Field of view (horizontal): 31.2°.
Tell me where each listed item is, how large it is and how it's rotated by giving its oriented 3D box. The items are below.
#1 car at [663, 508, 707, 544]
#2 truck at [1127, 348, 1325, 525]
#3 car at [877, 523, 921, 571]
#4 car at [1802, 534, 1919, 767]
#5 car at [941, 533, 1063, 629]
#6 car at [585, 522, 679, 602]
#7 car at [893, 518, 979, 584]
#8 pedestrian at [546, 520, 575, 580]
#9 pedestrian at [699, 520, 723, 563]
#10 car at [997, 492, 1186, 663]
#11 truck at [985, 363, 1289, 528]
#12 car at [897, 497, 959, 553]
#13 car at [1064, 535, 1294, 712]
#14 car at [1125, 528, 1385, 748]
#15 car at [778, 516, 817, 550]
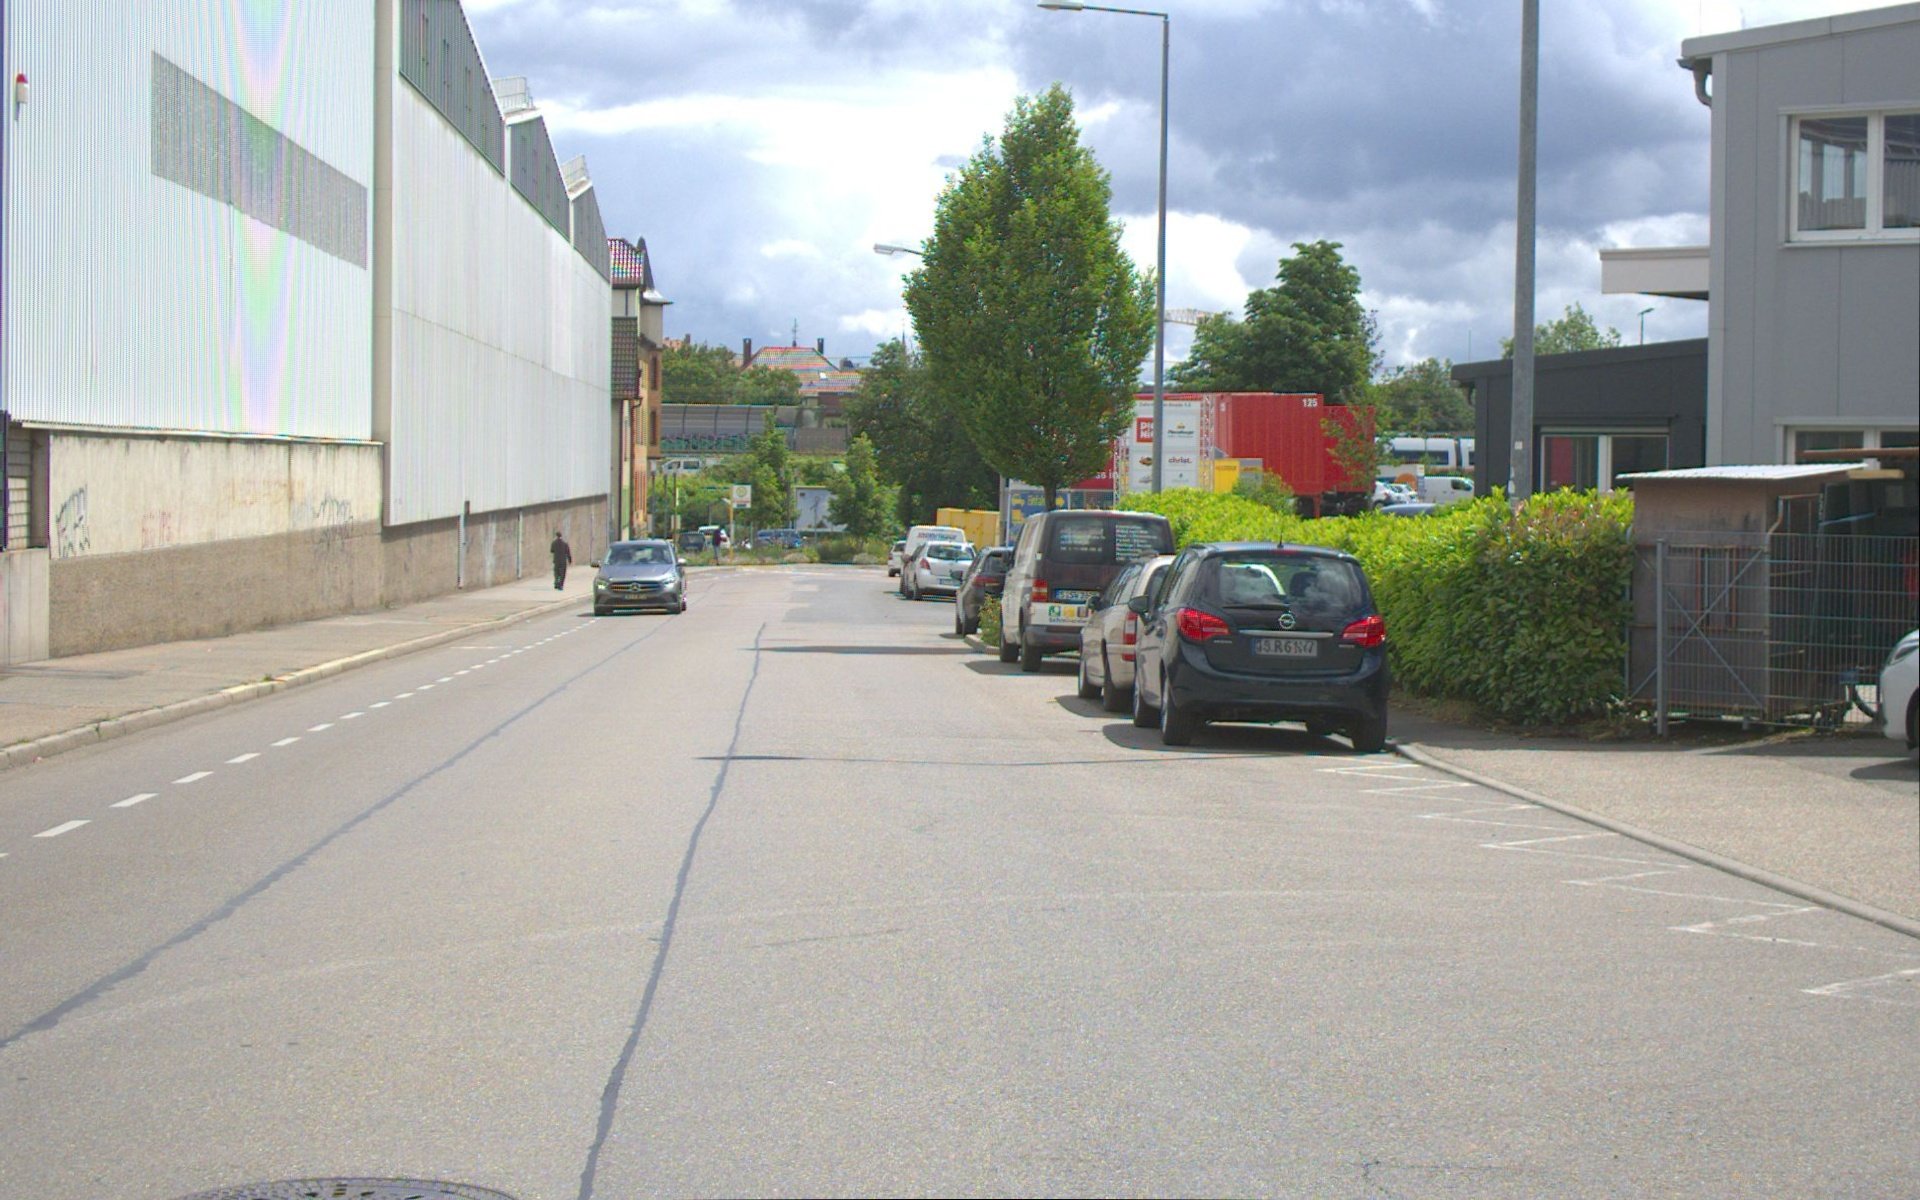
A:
[{"bbox_3d":[-12.265,-3.288,153.550,1.852,1.481,4.000,1,0,-3],"label":"car"},{"bbox_3d":[7.197,-4.372,94.238,2.573,4.434,7.865,1,0,-18],"label":"truck"},{"bbox_3d":[-2.362,-2.023,132.155,1.566,1.780,3.606,1,0,-3],"label":"car"},{"bbox_3d":[7.575,0.299,21.753,1.720,1.457,4.073,-4,2,-41],"label":"car"},{"bbox_3d":[0.647,-0.339,56.506,1.714,1.468,4.512,1,1,-3],"label":"car"},{"bbox_3d":[-6.819,-0.781,71.849,1.719,1.550,4.288,-3,1,-3],"label":"car"},{"bbox_3d":[-0.627,-1.256,86.906,1.701,1.522,3.739,3,1,-6],"label":"car"},{"bbox_3d":[-11.023,-1.381,94.832,0.713,1.632,0.777,1,0,-1],"label":"pedestrian"},{"bbox_3d":[-9.934,-2.330,137.025,0.853,1.657,0.860,1,0,2],"label":"pedestrian"},{"bbox_3d":[1.568,-0.320,42.841,1.869,1.983,5.145,1,1,-3],"label":"car"},{"bbox_3d":[5.194,-4.485,100.964,8.458,4.655,2.580,1,0,19],"label":"truck"},{"bbox_3d":[-0.931,-2.146,97.718,1.701,1.522,3.738,1,1,-1],"label":"car"},{"bbox_3d":[2.021,0.164,32.932,1.655,1.535,4.735,1,1,-3],"label":"car"},{"bbox_3d":[2.327,0.242,28.018,1.679,1.632,4.123,1,1,-1],"label":"car"},{"bbox_3d":[-7.799,-3.199,164.861,1.852,1.481,4.000,1,0,-3],"label":"car"}]
